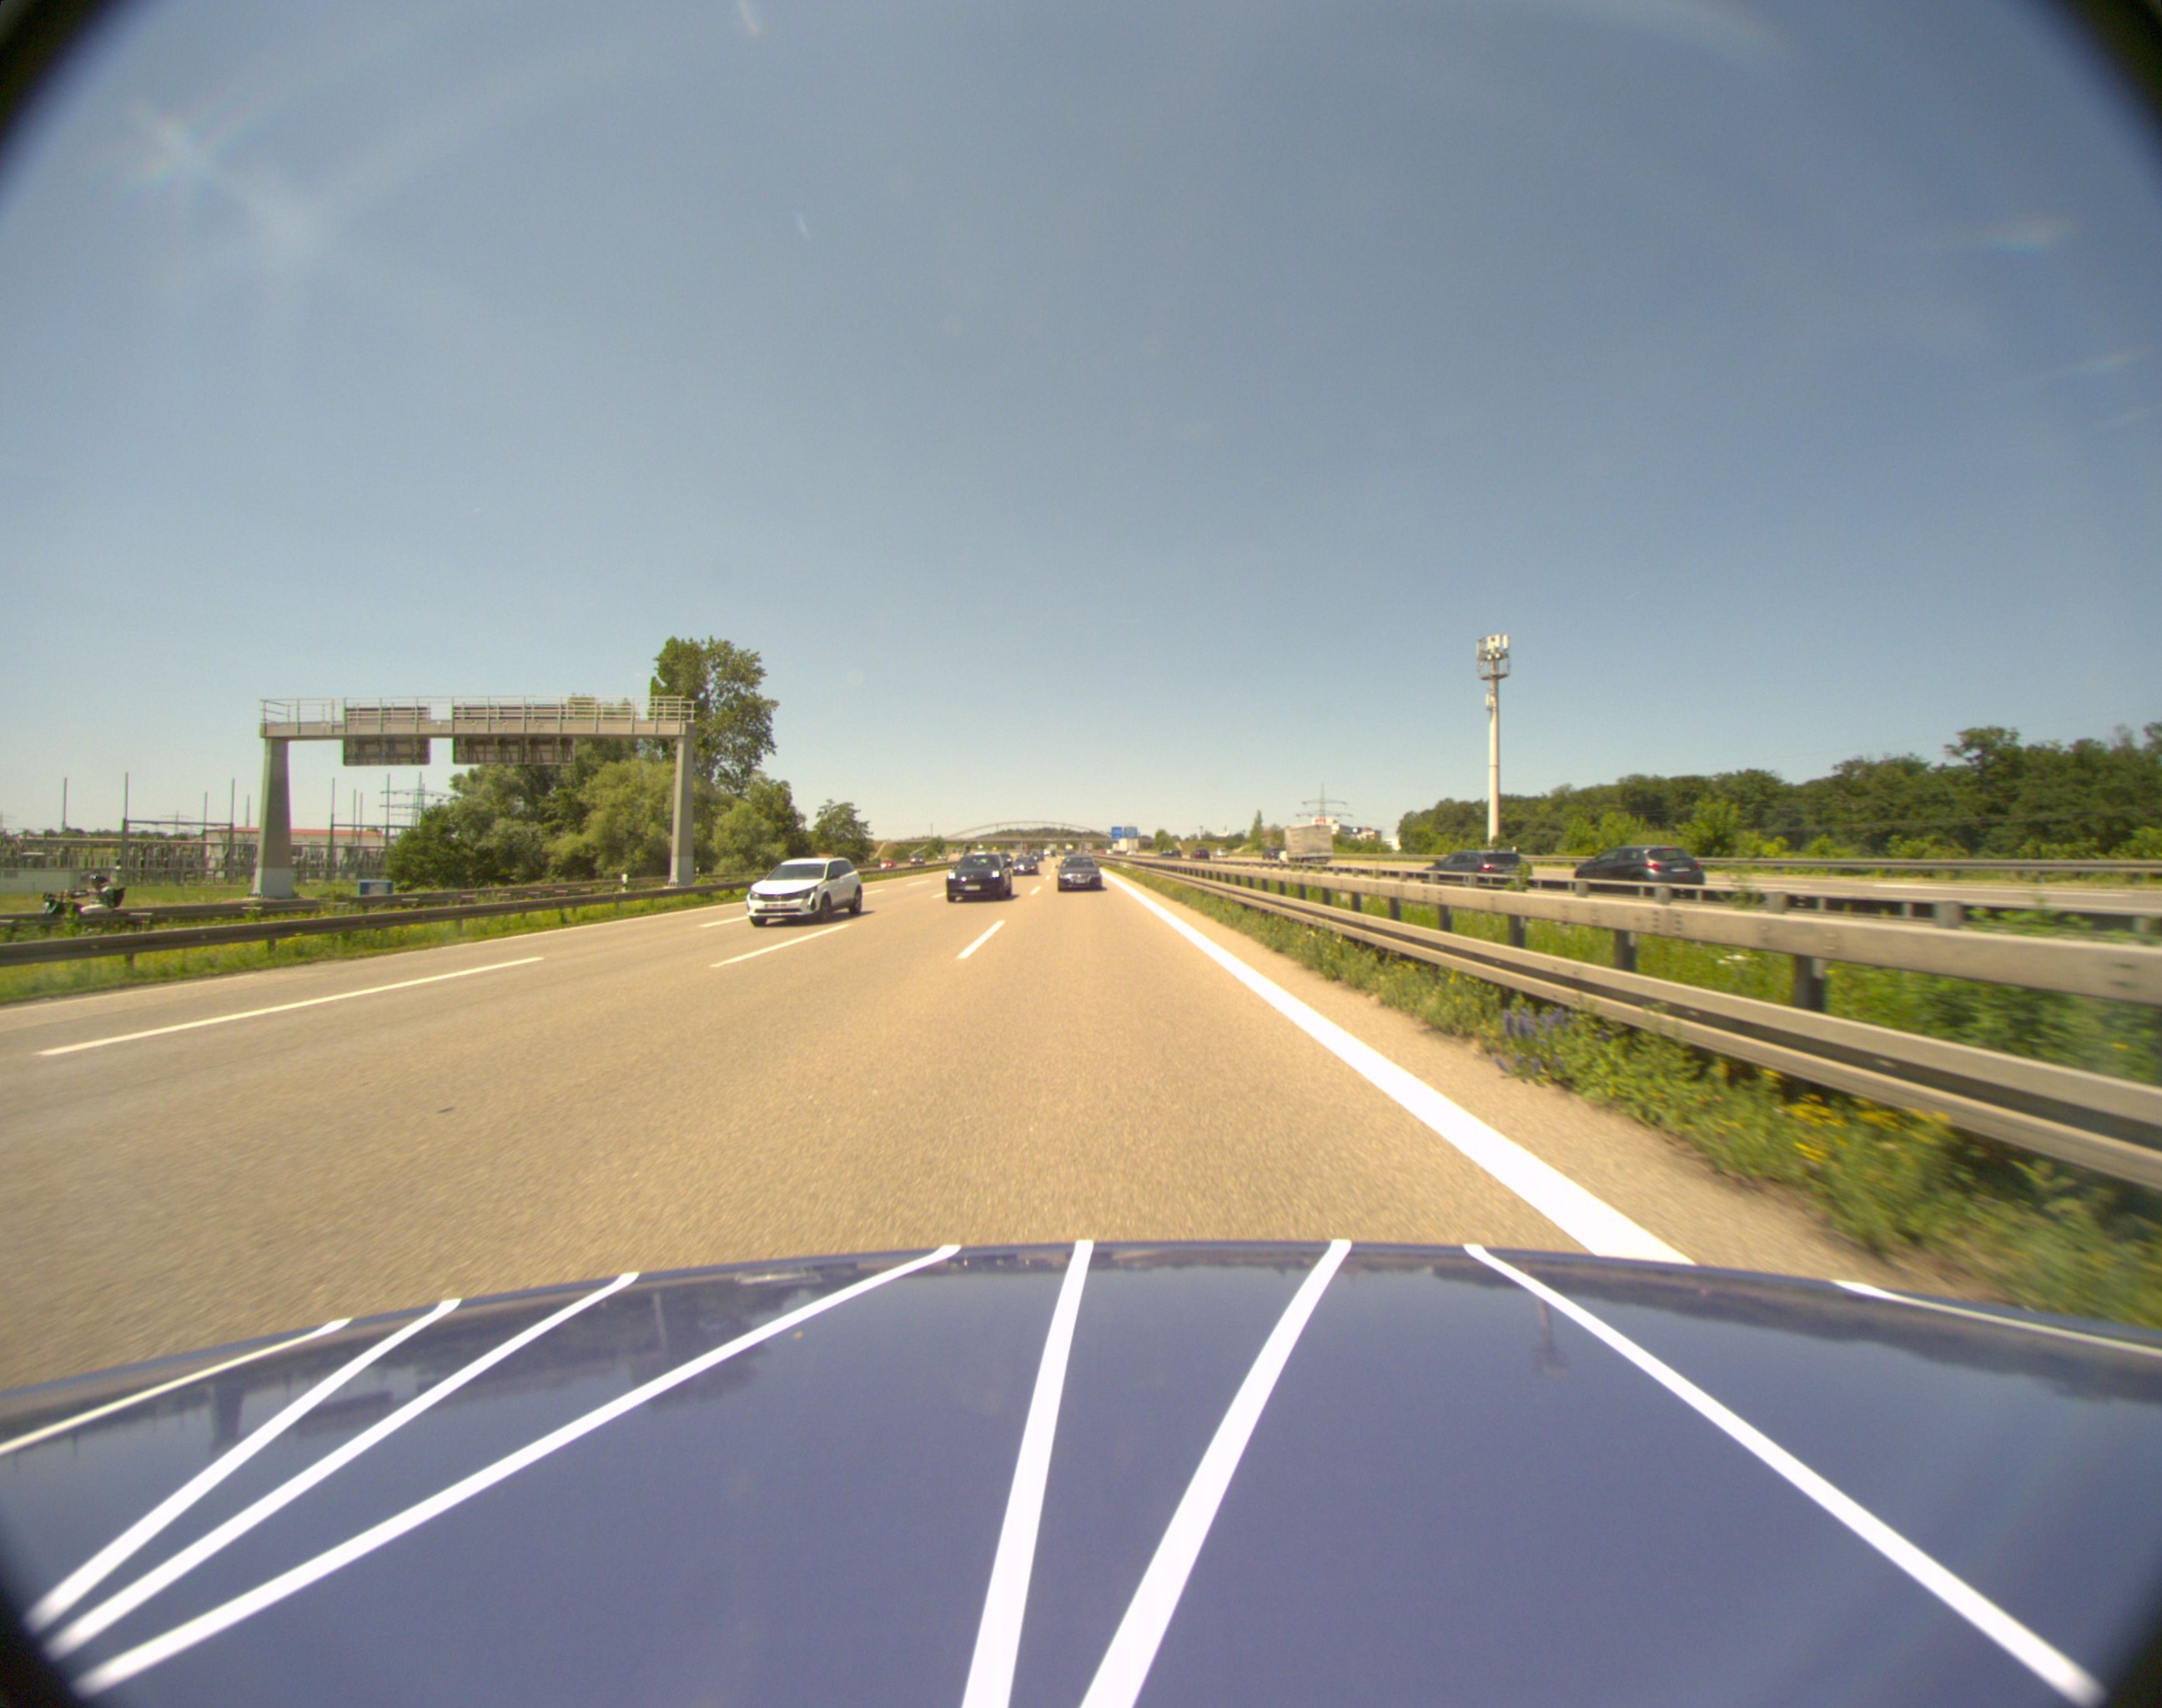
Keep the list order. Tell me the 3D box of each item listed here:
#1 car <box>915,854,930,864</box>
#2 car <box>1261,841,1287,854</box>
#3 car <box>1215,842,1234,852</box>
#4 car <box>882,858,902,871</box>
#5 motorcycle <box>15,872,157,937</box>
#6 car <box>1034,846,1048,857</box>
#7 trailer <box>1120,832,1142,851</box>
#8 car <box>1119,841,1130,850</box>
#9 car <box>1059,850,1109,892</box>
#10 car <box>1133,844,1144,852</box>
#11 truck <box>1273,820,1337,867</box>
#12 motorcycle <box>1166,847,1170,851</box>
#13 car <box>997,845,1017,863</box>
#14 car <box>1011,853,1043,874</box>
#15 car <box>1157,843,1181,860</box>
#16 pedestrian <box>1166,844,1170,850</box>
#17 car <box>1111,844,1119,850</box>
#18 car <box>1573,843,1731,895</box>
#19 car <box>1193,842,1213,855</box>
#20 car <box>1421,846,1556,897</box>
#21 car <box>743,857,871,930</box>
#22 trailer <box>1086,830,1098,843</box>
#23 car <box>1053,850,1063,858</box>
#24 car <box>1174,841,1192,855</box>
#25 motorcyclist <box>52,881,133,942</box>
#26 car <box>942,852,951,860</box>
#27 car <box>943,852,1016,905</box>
[{"bbox_3d":[-28.304,0.934,135.680,1.704,1.566,4.127,-2,1,0],"label":"car"},{"bbox_3d":[23.770,-0.788,93.700,1.852,1.523,4.221,-2,1,-2],"label":"car"},{"bbox_3d":[22.665,-1.174,120.044,2.110,1.523,4.370,-2,1,-1],"label":"car"},{"bbox_3d":[-26.435,1.482,106.406,1.704,1.566,4.127,-2,1,0],"label":"car"},{"bbox_3d":[-23.363,1.143,17.901,0.762,1.359,1.869,-2,1,3],"label":"motorcycle"},{"bbox_3d":[-6.647,-0.448,125.752,1.925,1.762,3.999,-2,1,1],"label":"car"},{"bbox_3d":[11.528,-2.812,176.472,3.044,4.216,12.240,-2,1,-5],"label":"trailer"},{"bbox_3d":[7.455,-1.486,130.725,1.679,1.605,4.361,-2,1,0],"label":"car"},{"bbox_3d":[0.060,0.652,32.028,1.932,1.499,4.389,-2,1,-1],"label":"car"},{"bbox_3d":[10.730,-1.055,142.471,1.661,1.395,4.758,-2,1,1],"label":"car"},{"bbox_3d":[16.724,-0.838,57.252,2.382,3.259,7.658,-2,1,-1],"label":"truck"},{"bbox_3d":[20.098,-1.164,175.688,0.659,1.009,2.487,-2,1,-2],"label":"motorcycle"},{"bbox_3d":[-8.433,-0.070,86.926,1.808,1.908,4.293,-2,1,-1],"label":"car"},{"bbox_3d":[-3.992,0.695,56.475,1.931,1.390,4.117,-2,1,1],"label":"car"},{"bbox_3d":[9.037,-0.244,78.577,1.752,1.616,4.829,-2,1,-1],"label":"car"},{"bbox_3d":[20.077,-1.584,175.742,0.652,1.309,1.035,-2,2,-2],"label":"pedestrian"},{"bbox_3d":[8.070,-1.622,179.733,1.746,1.480,4.007,-2,1,0],"label":"car"},{"bbox_3d":[17.384,0.411,23.406,1.910,1.412,4.000,-1,0,1],"label":"car"},{"bbox_3d":[15.969,-0.755,99.836,1.852,1.646,4.909,-2,1,1],"label":"car"},{"bbox_3d":[13.029,0.500,24.692,1.794,1.456,4.859,-1,0,1],"label":"car"},{"bbox_3d":[-7.144,0.945,20.349,1.748,1.582,4.618,-2,1,-1],"label":"car"},{"bbox_3d":[3.688,-5.977,261.347,2.898,4.090,12.579,-2,1,-3],"label":"trailer"},{"bbox_3d":[-5.512,0.014,178.096,1.999,1.849,3.997,-2,1,-6],"label":"car"},{"bbox_3d":[12.788,-0.794,95.568,1.679,1.616,4.084,-2,1,0],"label":"car"},{"bbox_3d":[-23.348,1.347,17.963,0.670,1.359,0.878,-2,2,2],"label":"motorcyclist"},{"bbox_3d":[-31.352,0.462,177.553,1.704,1.566,4.125,-2,1,-5],"label":"car"},{"bbox_3d":[-3.509,0.804,26.990,1.931,1.586,4.131,-2,1,1],"label":"car"}]
